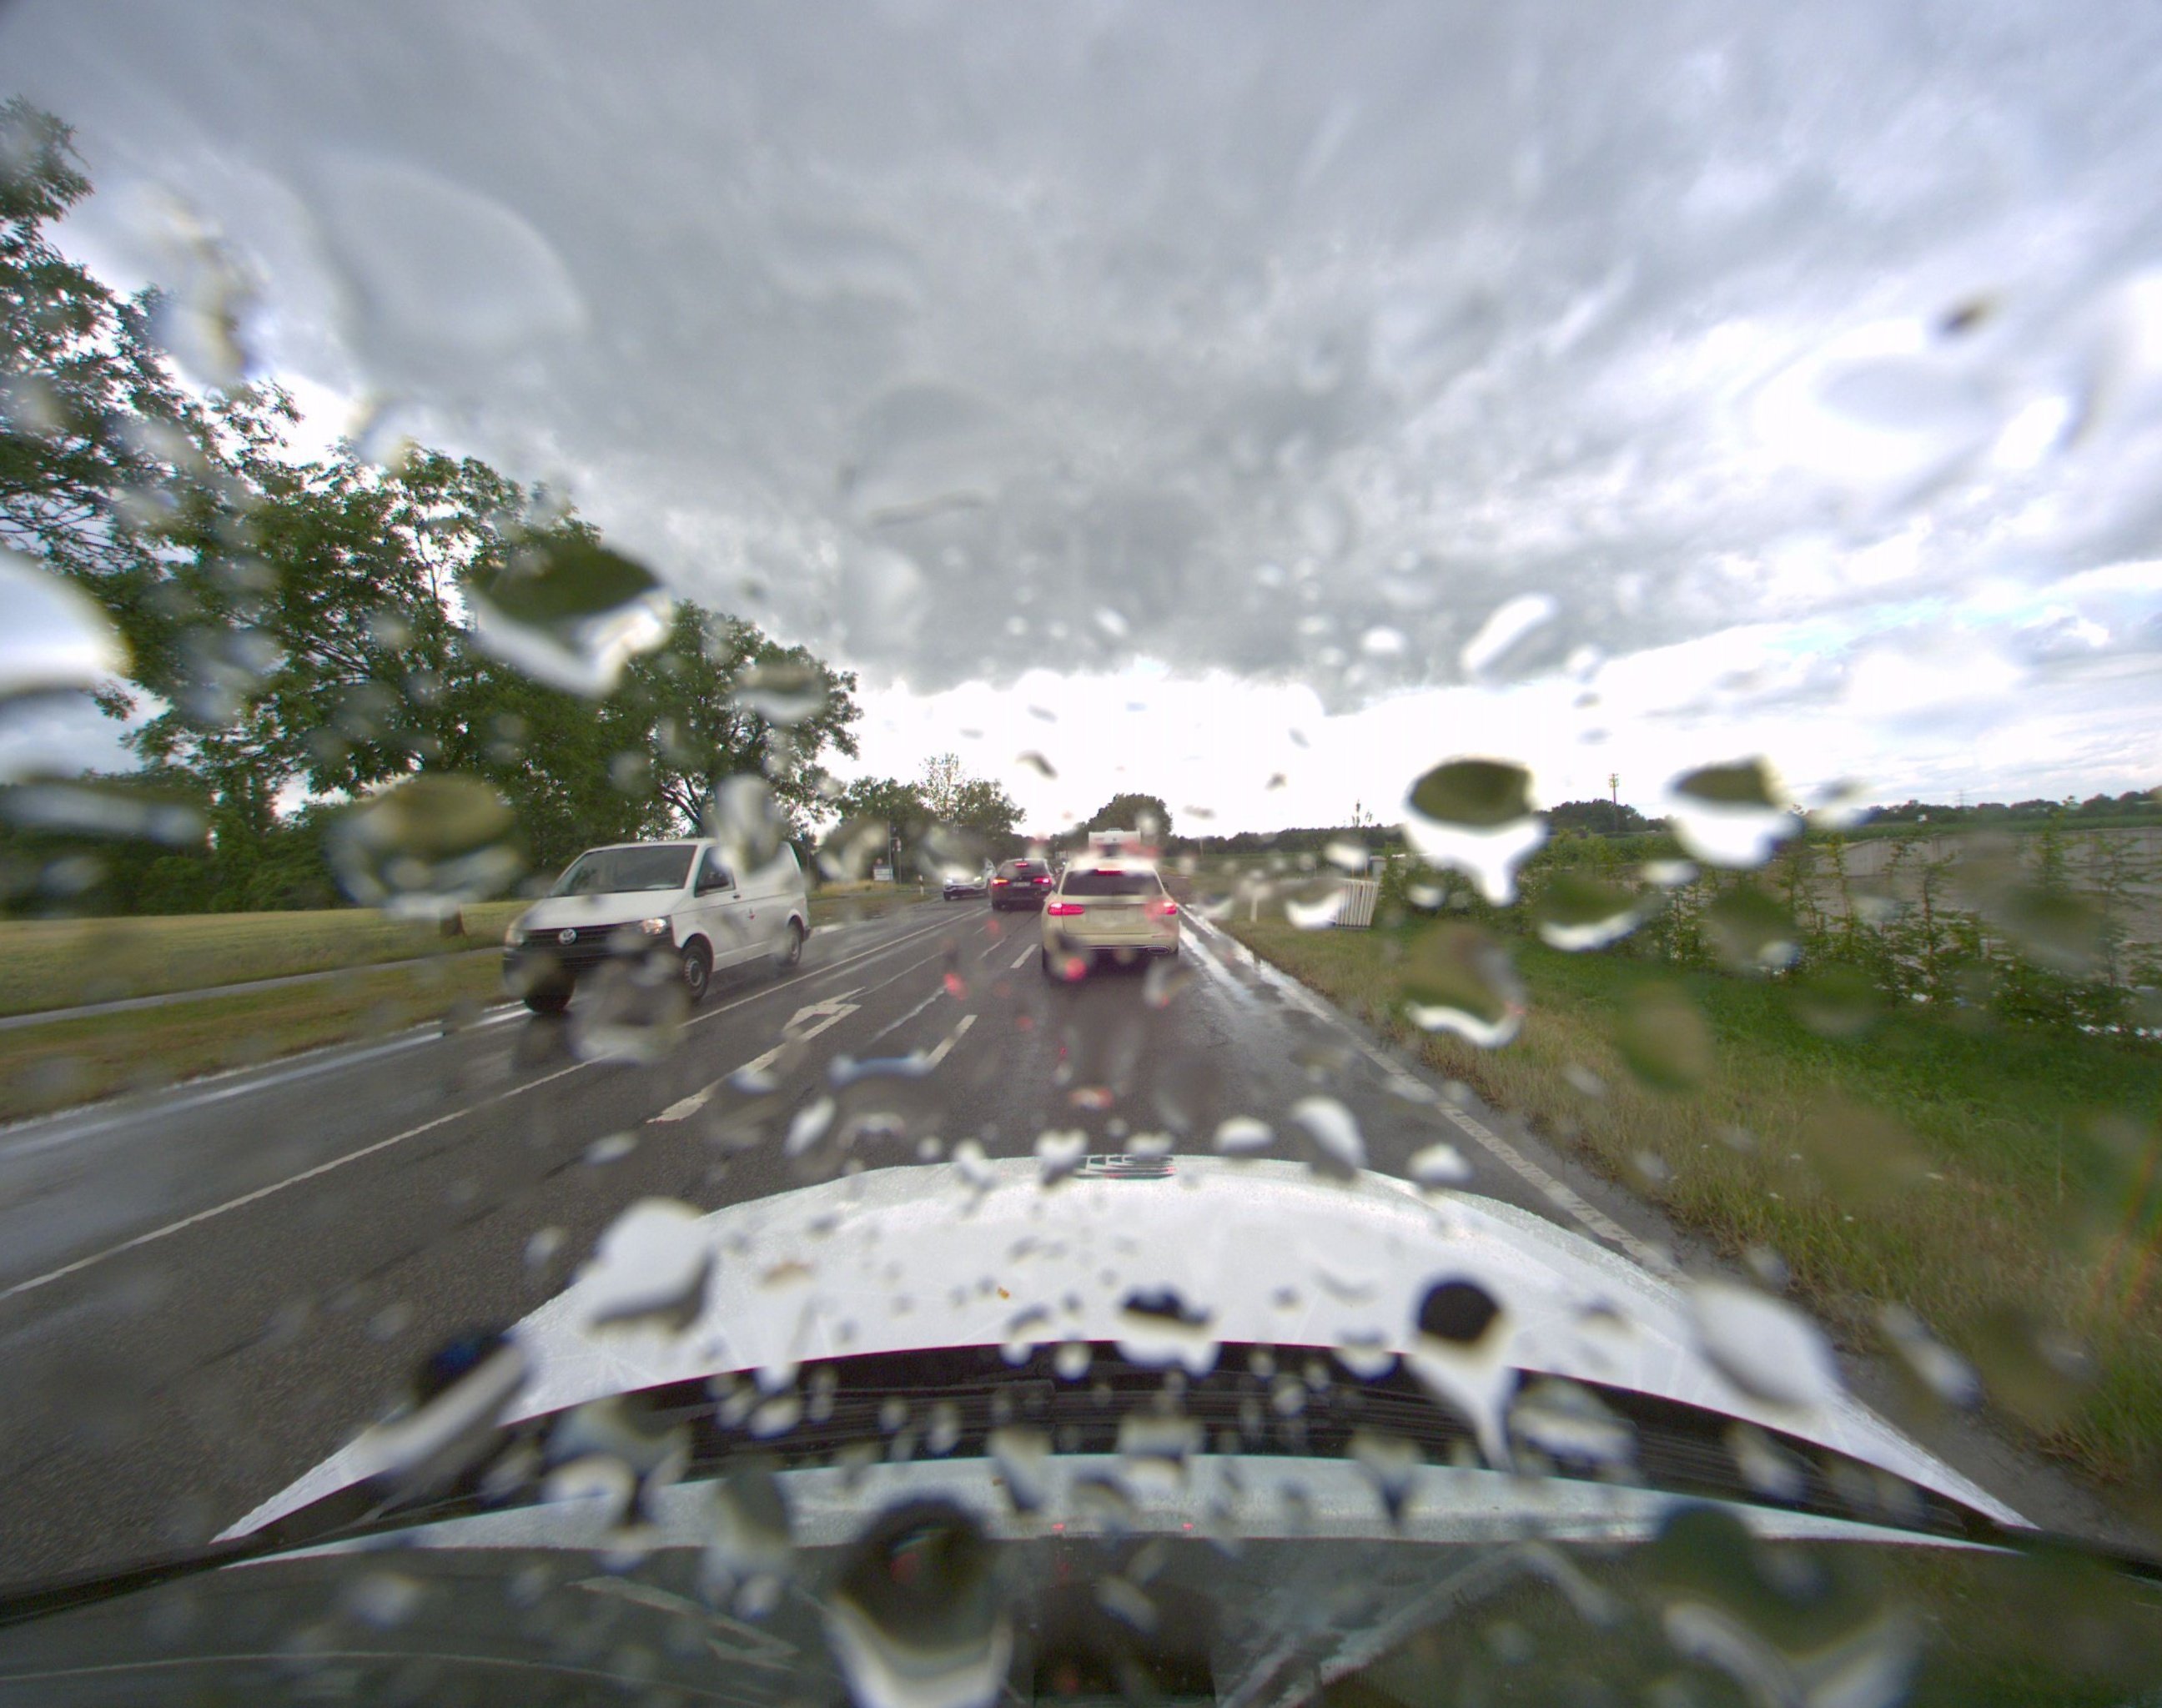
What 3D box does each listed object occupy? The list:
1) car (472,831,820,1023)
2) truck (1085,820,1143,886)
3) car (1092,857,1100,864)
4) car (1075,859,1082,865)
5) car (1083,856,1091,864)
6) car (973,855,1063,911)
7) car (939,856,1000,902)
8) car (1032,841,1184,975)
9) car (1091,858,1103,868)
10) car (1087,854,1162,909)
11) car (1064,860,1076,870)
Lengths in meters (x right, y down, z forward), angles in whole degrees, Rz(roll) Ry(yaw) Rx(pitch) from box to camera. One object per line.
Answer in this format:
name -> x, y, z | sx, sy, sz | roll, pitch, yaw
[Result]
car -> -5.299, 0.779, 10.842 | 1.910, 1.861, 4.686 | -4, -1, 1
truck -> 1.526, -0.026, 38.614 | 2.355, 2.729, 7.317 | -3, 0, 2
car -> 3.316, 1.496, 182.682 | 1.676, 1.550, 3.754 | 0, 0, 2
car -> -0.867, 2.563, 257.120 | 1.888, 1.839, 3.883 | -2, 0, 1
car -> 1.600, 1.632, 208.076 | 1.891, 1.895, 3.841 | -3, 0, -1
car -> -1.813, 0.822, 25.082 | 2.293, 1.547, 4.634 | 0, 0, 2
car -> -4.568, 0.980, 33.927 | 1.697, 1.671, 4.158 | -4, 0, 3
car -> 0.392, 0.681, 12.048 | 1.836, 1.618, 4.001 | -1, 0, 2
car -> 3.050, 1.679, 154.915 | 1.989, 1.772, 3.996 | -2, 0, -2
car -> 1.205, 0.744, 23.590 | 1.986, 1.462, 4.001 | 0, 0, 2
car -> -1.665, 1.626, 124.125 | 1.713, 1.404, 4.044 | -4, 0, 1
